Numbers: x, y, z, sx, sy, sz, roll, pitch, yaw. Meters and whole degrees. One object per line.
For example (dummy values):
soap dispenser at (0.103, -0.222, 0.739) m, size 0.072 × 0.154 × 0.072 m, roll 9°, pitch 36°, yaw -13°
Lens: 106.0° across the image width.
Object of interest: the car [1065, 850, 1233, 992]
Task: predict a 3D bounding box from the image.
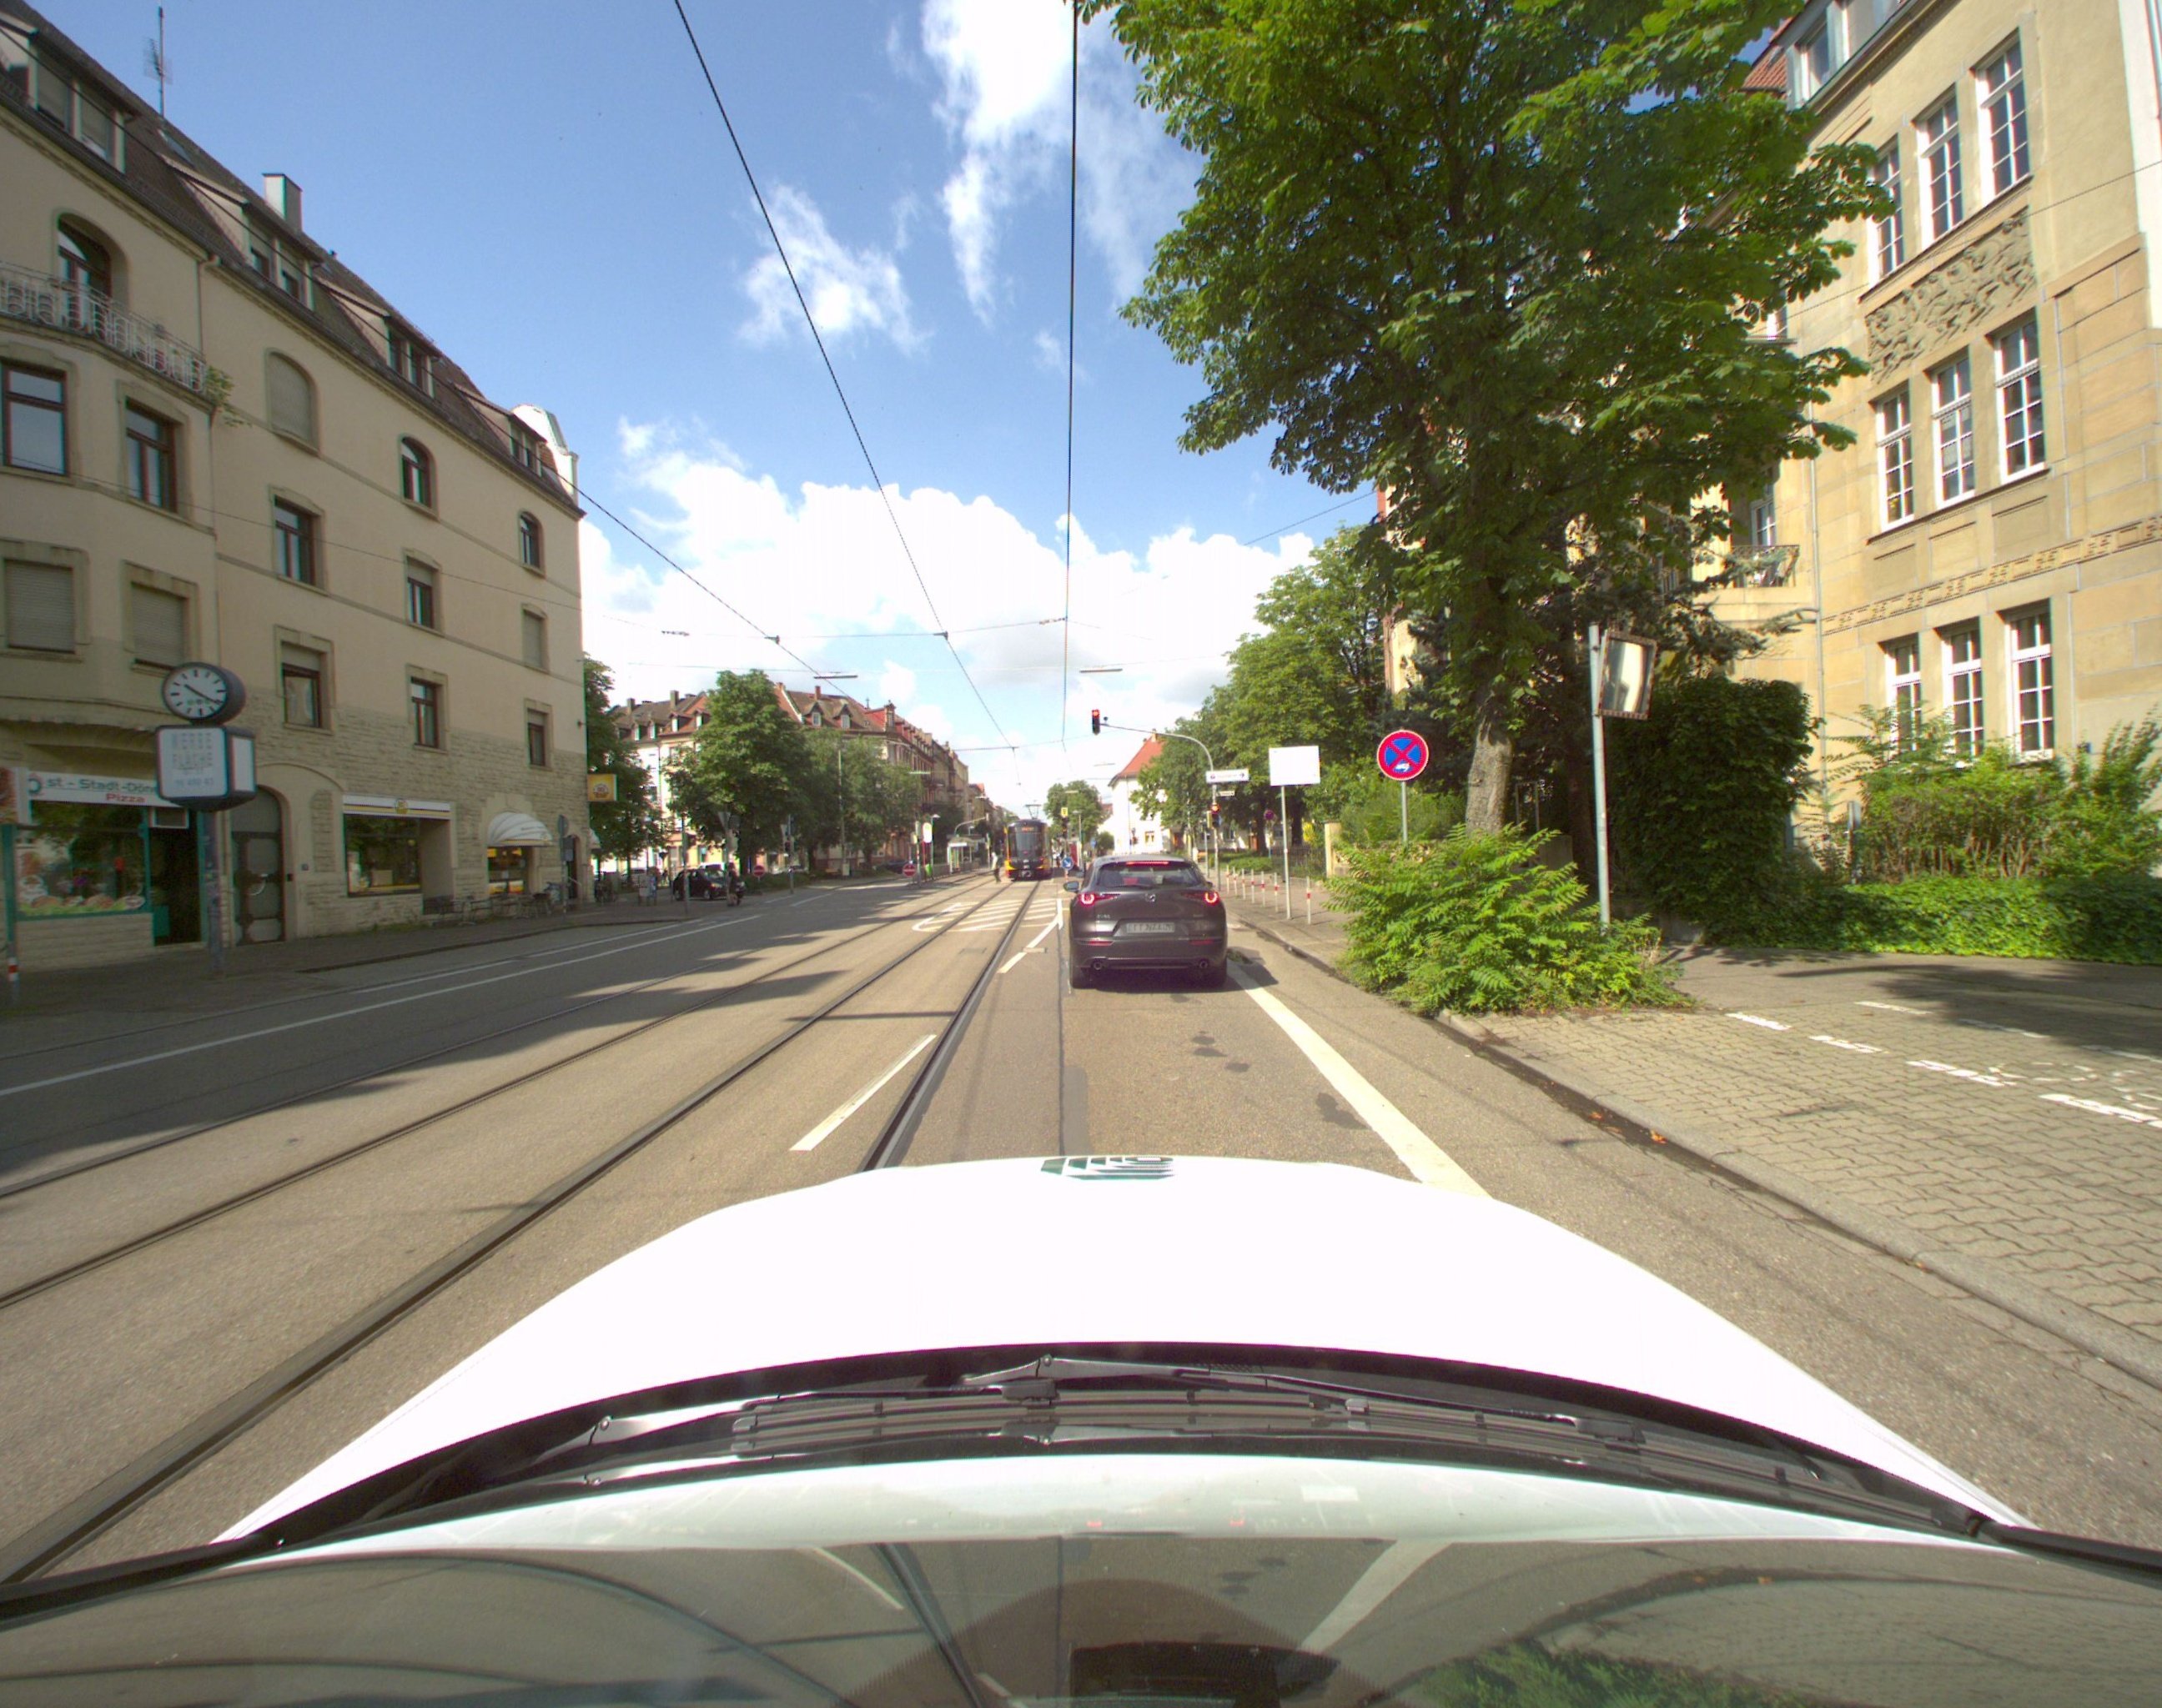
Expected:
car at (0.776, 0.707, 10.648) m, size 1.772 × 1.499 × 4.001 m, roll 0°, pitch 0°, yaw 1°

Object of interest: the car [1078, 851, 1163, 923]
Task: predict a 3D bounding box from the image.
car at (0.891, 0.696, 19.258) m, size 1.772 × 1.499 × 4.001 m, roll 0°, pitch 0°, yaw 1°

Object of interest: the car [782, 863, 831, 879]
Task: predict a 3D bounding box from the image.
car at (-25.966, 1.588, 77.135) m, size 1.657 × 1.360 × 4.025 m, roll -2°, pitch 0°, yaw 43°

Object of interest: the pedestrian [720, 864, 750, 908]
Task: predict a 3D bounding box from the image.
pedestrian at (-13.726, 1.257, 32.305) m, size 0.746 × 1.684 × 0.702 m, roll -2°, pitch 0°, yaw 11°

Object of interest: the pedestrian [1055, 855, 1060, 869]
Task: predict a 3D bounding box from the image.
pedestrian at (-1.911, 0.648, 67.116) m, size 0.378 × 1.071 × 0.474 m, roll -2°, pitch 0°, yaw -1°

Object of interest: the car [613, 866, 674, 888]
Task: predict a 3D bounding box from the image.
car at (-37.006, 1.928, 68.980) m, size 3.972 × 1.596 × 2.001 m, roll -3°, pitch 0°, yaw 2°

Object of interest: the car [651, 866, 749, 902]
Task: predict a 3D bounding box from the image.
car at (-18.383, 1.458, 39.363) m, size 4.026 × 1.518 × 1.768 m, roll -2°, pitch 0°, yaw 14°

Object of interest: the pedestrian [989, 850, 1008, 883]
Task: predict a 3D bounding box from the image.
pedestrian at (-4.364, 0.666, 43.122) m, size 0.713 × 1.705 × 0.826 m, roll -2°, pitch 0°, yaw 7°

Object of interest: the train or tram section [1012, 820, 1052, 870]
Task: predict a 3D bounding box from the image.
train or tram section at (-3.802, -0.770, 66.065) m, size 2.746 × 3.490 × 14.397 m, roll -2°, pitch 1°, yaw -2°

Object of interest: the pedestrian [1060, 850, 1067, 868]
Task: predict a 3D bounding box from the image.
pedestrian at (-1.452, 0.414, 67.199) m, size 0.449 × 1.434 × 0.474 m, roll -2°, pitch 0°, yaw -3°

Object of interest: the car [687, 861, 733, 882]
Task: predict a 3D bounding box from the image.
car at (-36.924, 1.739, 81.009) m, size 3.950 × 1.903 × 2.012 m, roll -2°, pitch 0°, yaw 26°

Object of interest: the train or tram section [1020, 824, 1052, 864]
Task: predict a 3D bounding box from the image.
train or tram section at (-4.325, -1.034, 80.451) m, size 2.746 × 3.490 × 14.397 m, roll -2°, pitch 1°, yaw -2°

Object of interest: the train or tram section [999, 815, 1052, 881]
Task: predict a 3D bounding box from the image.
train or tram section at (-3.277, -0.453, 51.684) m, size 2.746 × 3.490 × 14.397 m, roll -2°, pitch 1°, yaw -2°
